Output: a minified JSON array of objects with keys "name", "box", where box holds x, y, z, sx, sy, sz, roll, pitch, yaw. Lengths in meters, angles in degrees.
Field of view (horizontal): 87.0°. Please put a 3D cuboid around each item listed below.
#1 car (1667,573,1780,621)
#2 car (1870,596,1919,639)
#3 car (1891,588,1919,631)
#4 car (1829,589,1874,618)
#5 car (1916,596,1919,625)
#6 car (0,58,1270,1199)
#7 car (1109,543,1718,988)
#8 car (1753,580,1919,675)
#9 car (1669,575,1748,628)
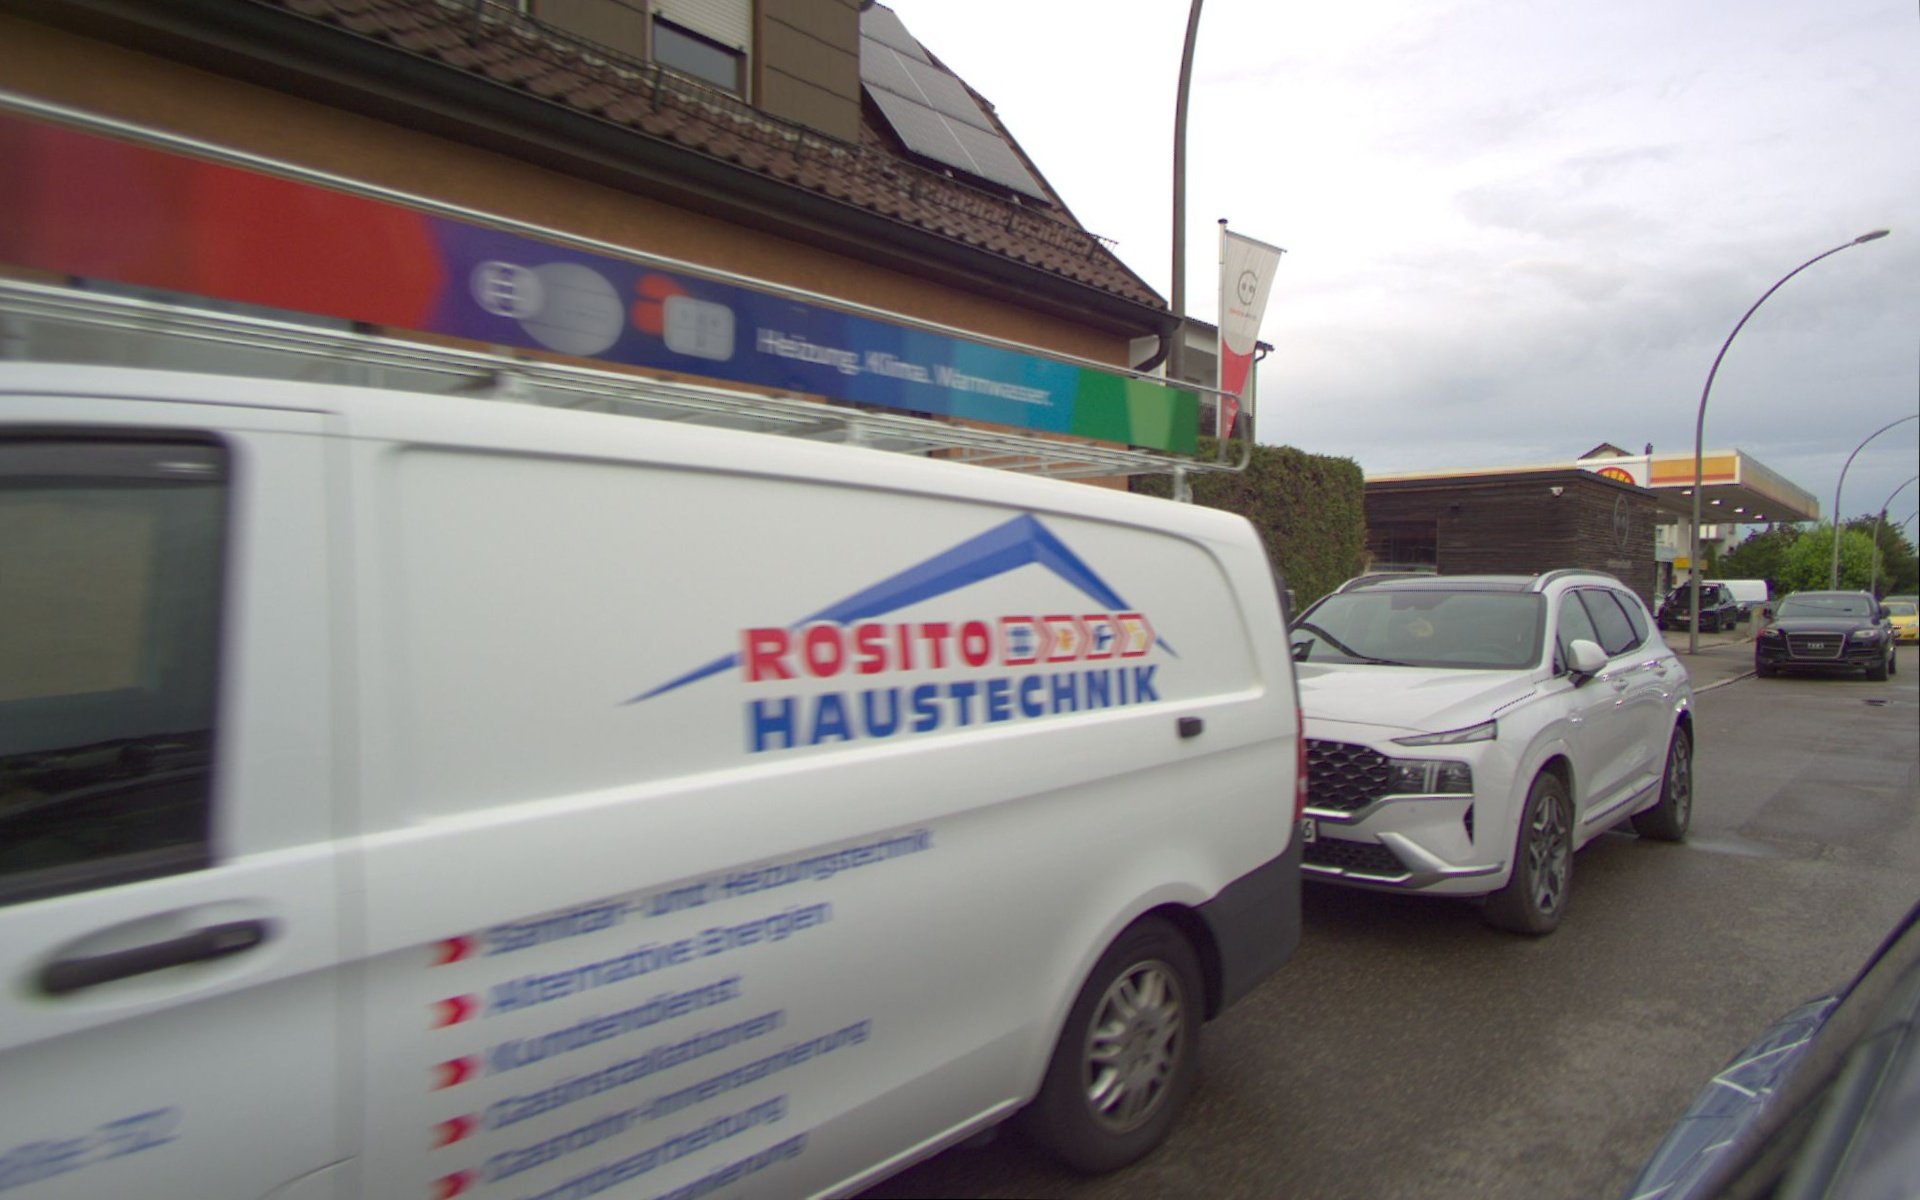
[{"name":"car","box":[43.564,-0.191,57.899,4.754,2.552,2.228,2,0,25]},{"name":"car","box":[33.071,0.593,35.358,3.739,1.419,1.657,0,1,-44]},{"name":"car","box":[40.595,0.404,42.730,4.371,1.760,1.657,0,-1,-44]},{"name":"car","box":[54.121,0.201,61.444,1.992,1.704,3.939,2,1,42]},{"name":"car","box":[55.424,0.658,57.098,1.995,1.616,3.935,2,1,45]},{"name":"car","box":[-1.476,0.430,1.933,4.670,2.055,1.780,1,-1,-41]},{"name":"car","box":[2.929,0.612,5.998,4.249,1.686,1.867,0,1,-44]},{"name":"car","box":[17.624,0.522,20.247,4.481,1.683,2.093,1,-1,-43]},{"name":"car","box":[27.476,0.041,37.110,1.820,1.781,3.937,4,2,43]}]
